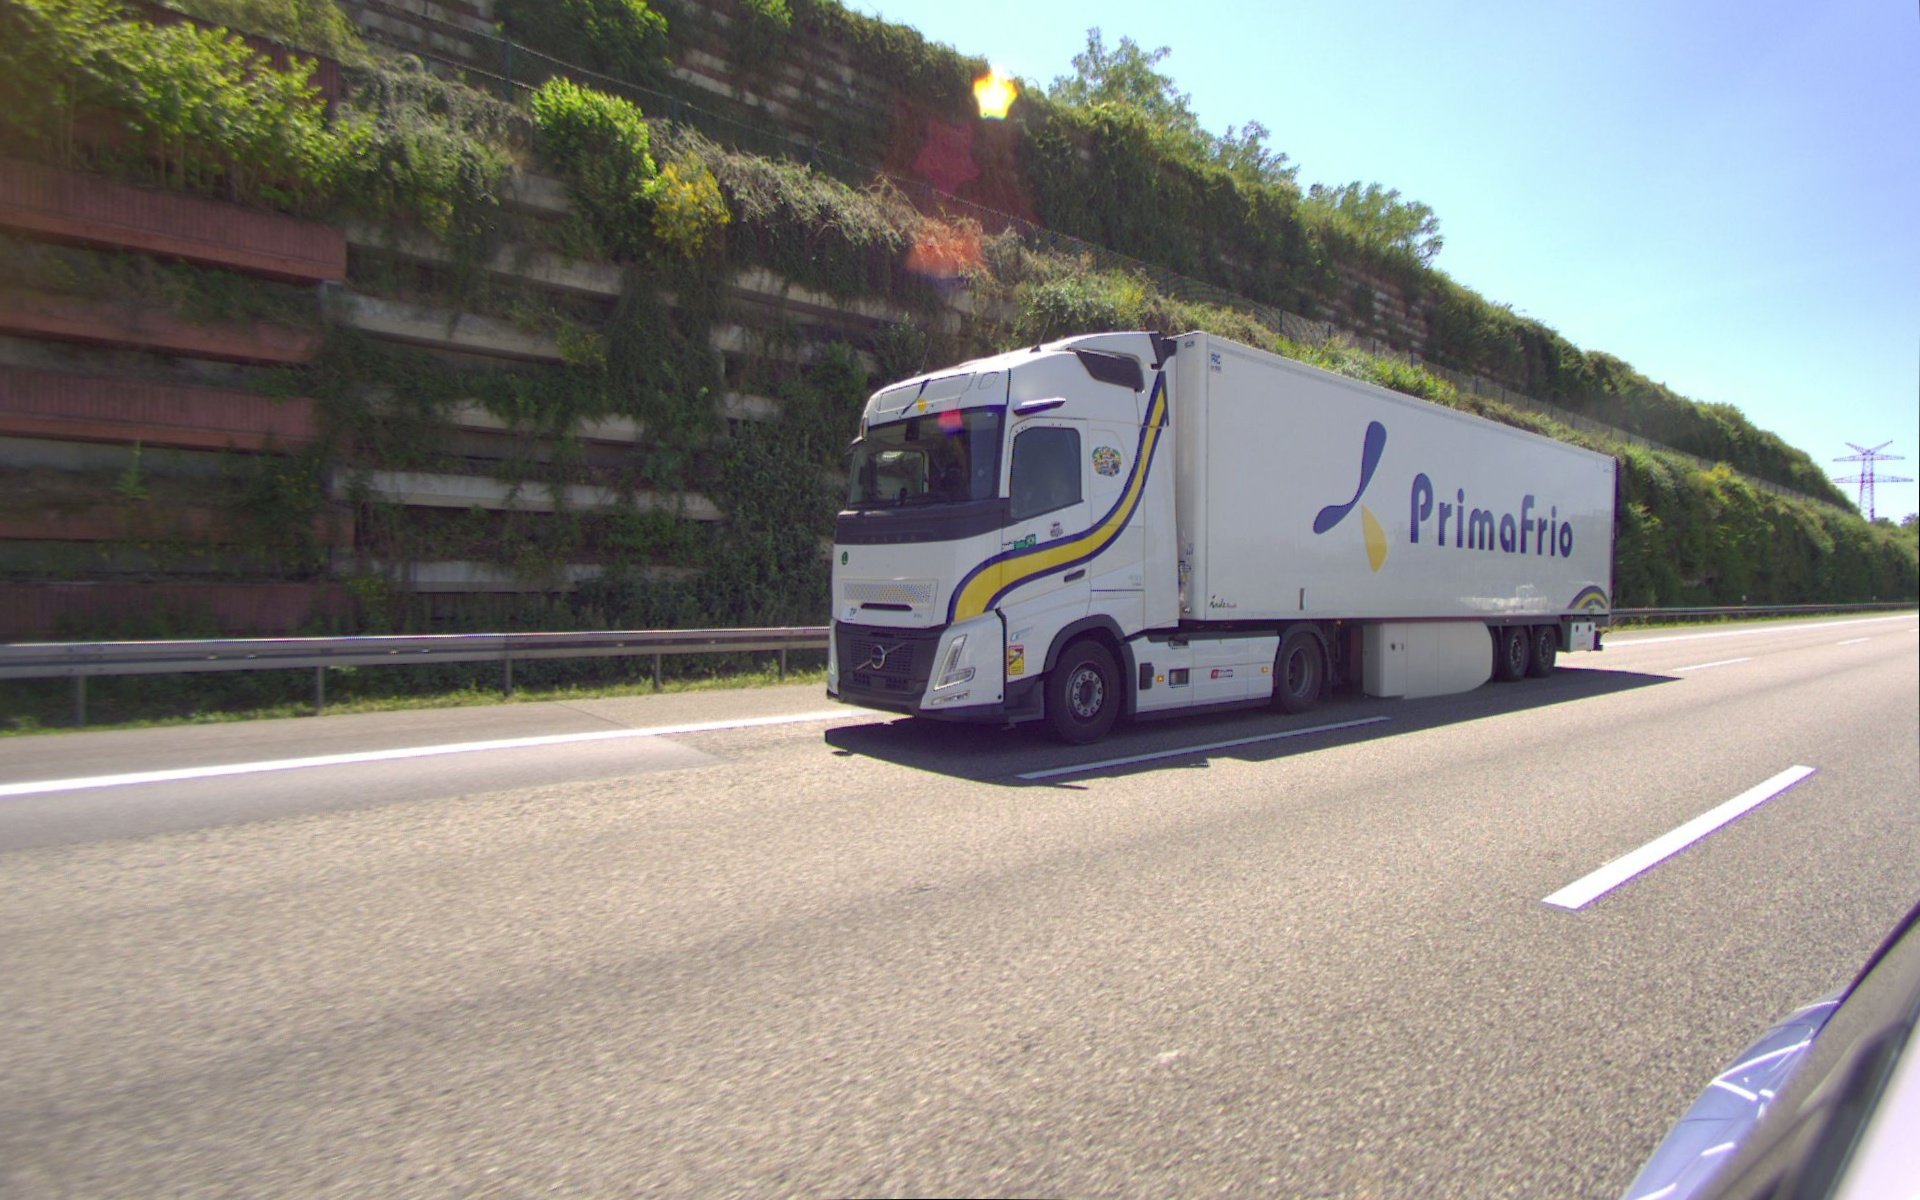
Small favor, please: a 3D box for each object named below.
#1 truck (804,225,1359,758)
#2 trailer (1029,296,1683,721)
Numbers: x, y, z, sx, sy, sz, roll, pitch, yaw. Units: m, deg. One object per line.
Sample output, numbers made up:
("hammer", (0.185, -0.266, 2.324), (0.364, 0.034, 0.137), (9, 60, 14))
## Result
("truck", (1.601, -0.939, 11.105), (6.146, 4.272, 2.513), (-1, 2, -41))
("trailer", (7.973, -0.999, 16.644), (16.730, 4.264, 2.519), (0, 2, -41))
